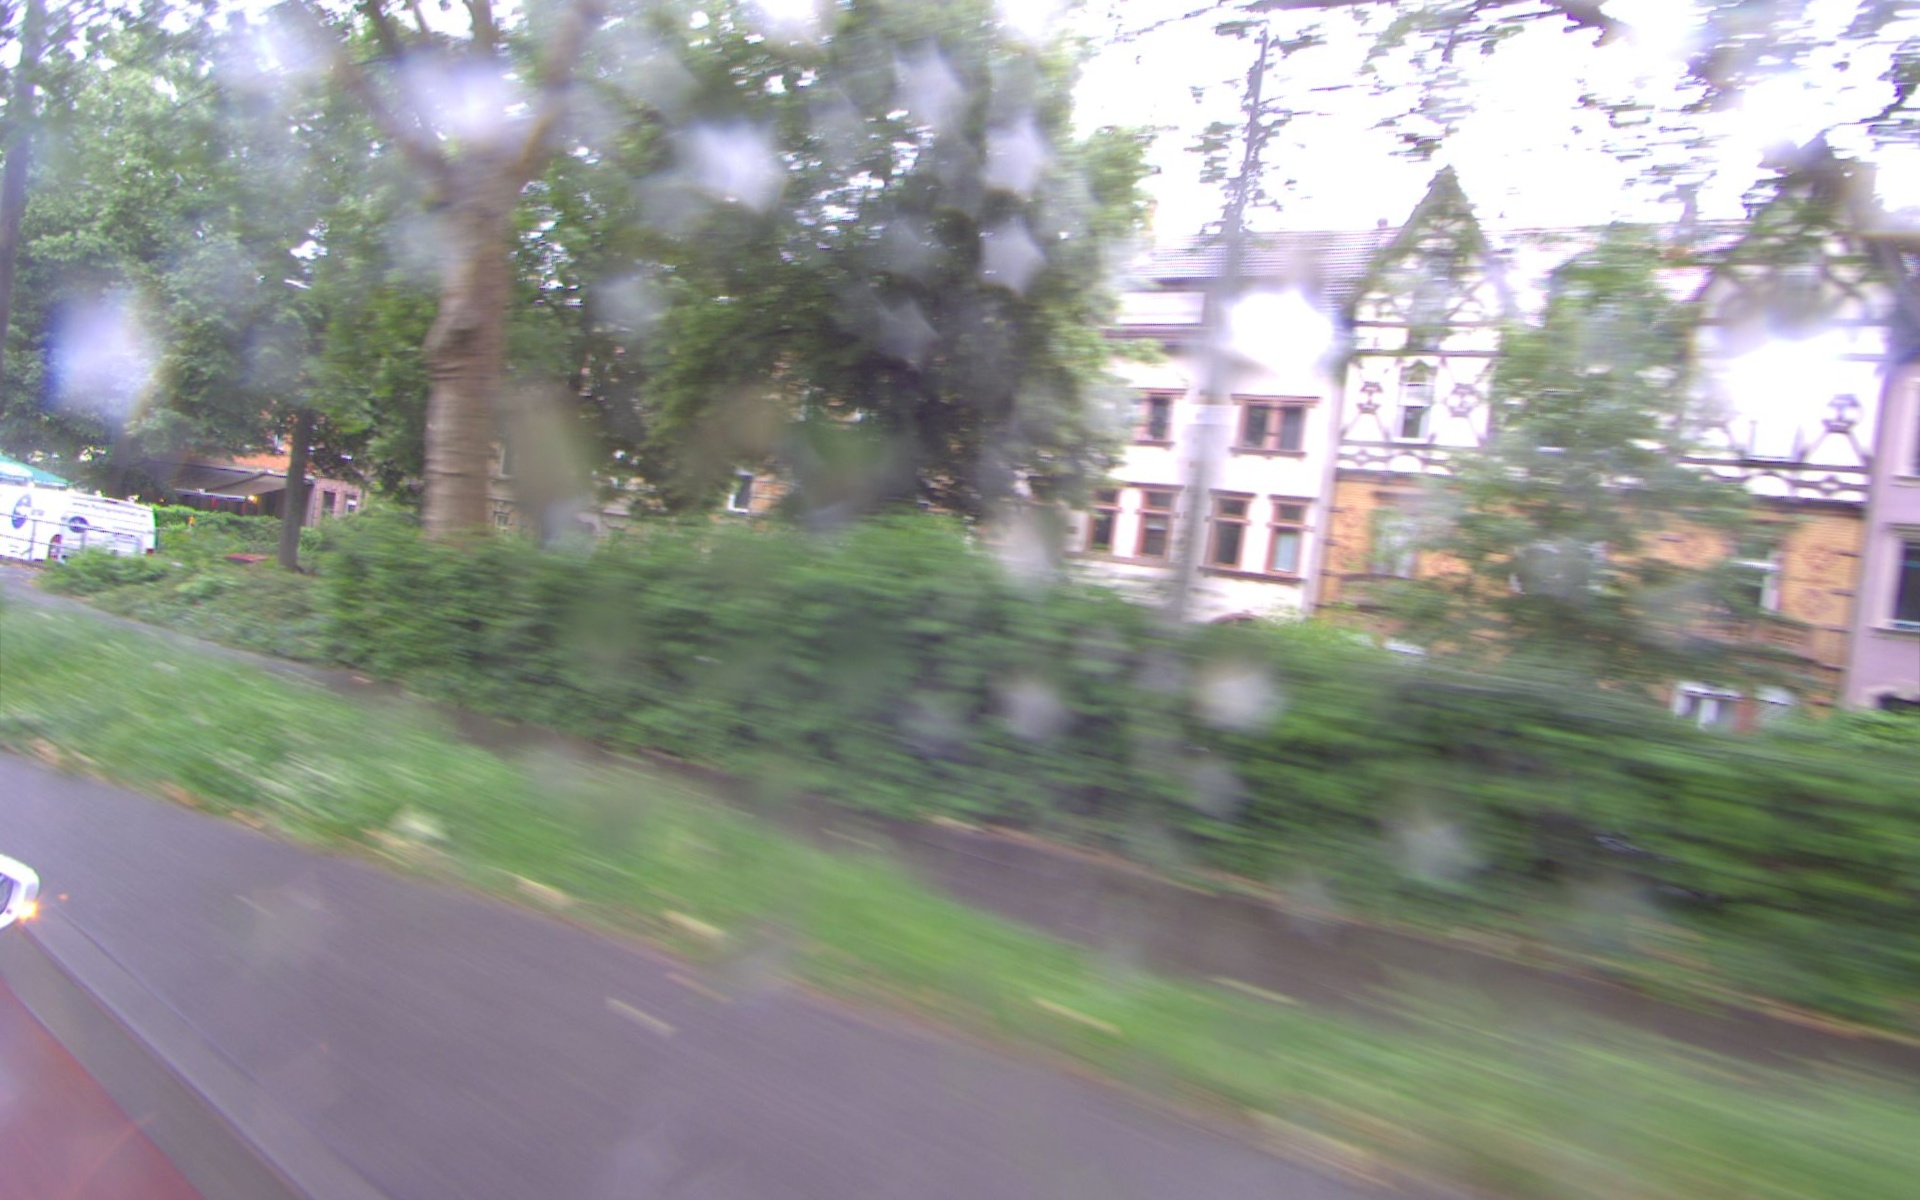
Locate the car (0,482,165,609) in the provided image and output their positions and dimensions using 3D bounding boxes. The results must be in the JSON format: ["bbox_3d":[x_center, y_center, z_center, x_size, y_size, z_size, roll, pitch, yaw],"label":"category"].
[{"bbox_3d":[-22.578,-1.448,24.905,5.675,2.565,2.184,8,1,26],"label":"car"}]

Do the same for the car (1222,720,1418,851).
[{"bbox_3d":[6.416,3.281,18.420,1.883,1.433,3.799,7,1,-3],"label":"car"}]

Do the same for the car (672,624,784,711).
[{"bbox_3d":[-5.563,1.576,24.577,1.883,1.578,3.799,7,1,-3],"label":"car"}]

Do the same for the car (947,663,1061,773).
[{"bbox_3d":[0.833,2.413,21.430,1.883,1.623,3.799,7,1,-3],"label":"car"}]

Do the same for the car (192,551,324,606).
[{"bbox_3d":[-22.429,-0.688,32.300,1.679,1.455,3.668,7,1,-3],"label":"car"}]
